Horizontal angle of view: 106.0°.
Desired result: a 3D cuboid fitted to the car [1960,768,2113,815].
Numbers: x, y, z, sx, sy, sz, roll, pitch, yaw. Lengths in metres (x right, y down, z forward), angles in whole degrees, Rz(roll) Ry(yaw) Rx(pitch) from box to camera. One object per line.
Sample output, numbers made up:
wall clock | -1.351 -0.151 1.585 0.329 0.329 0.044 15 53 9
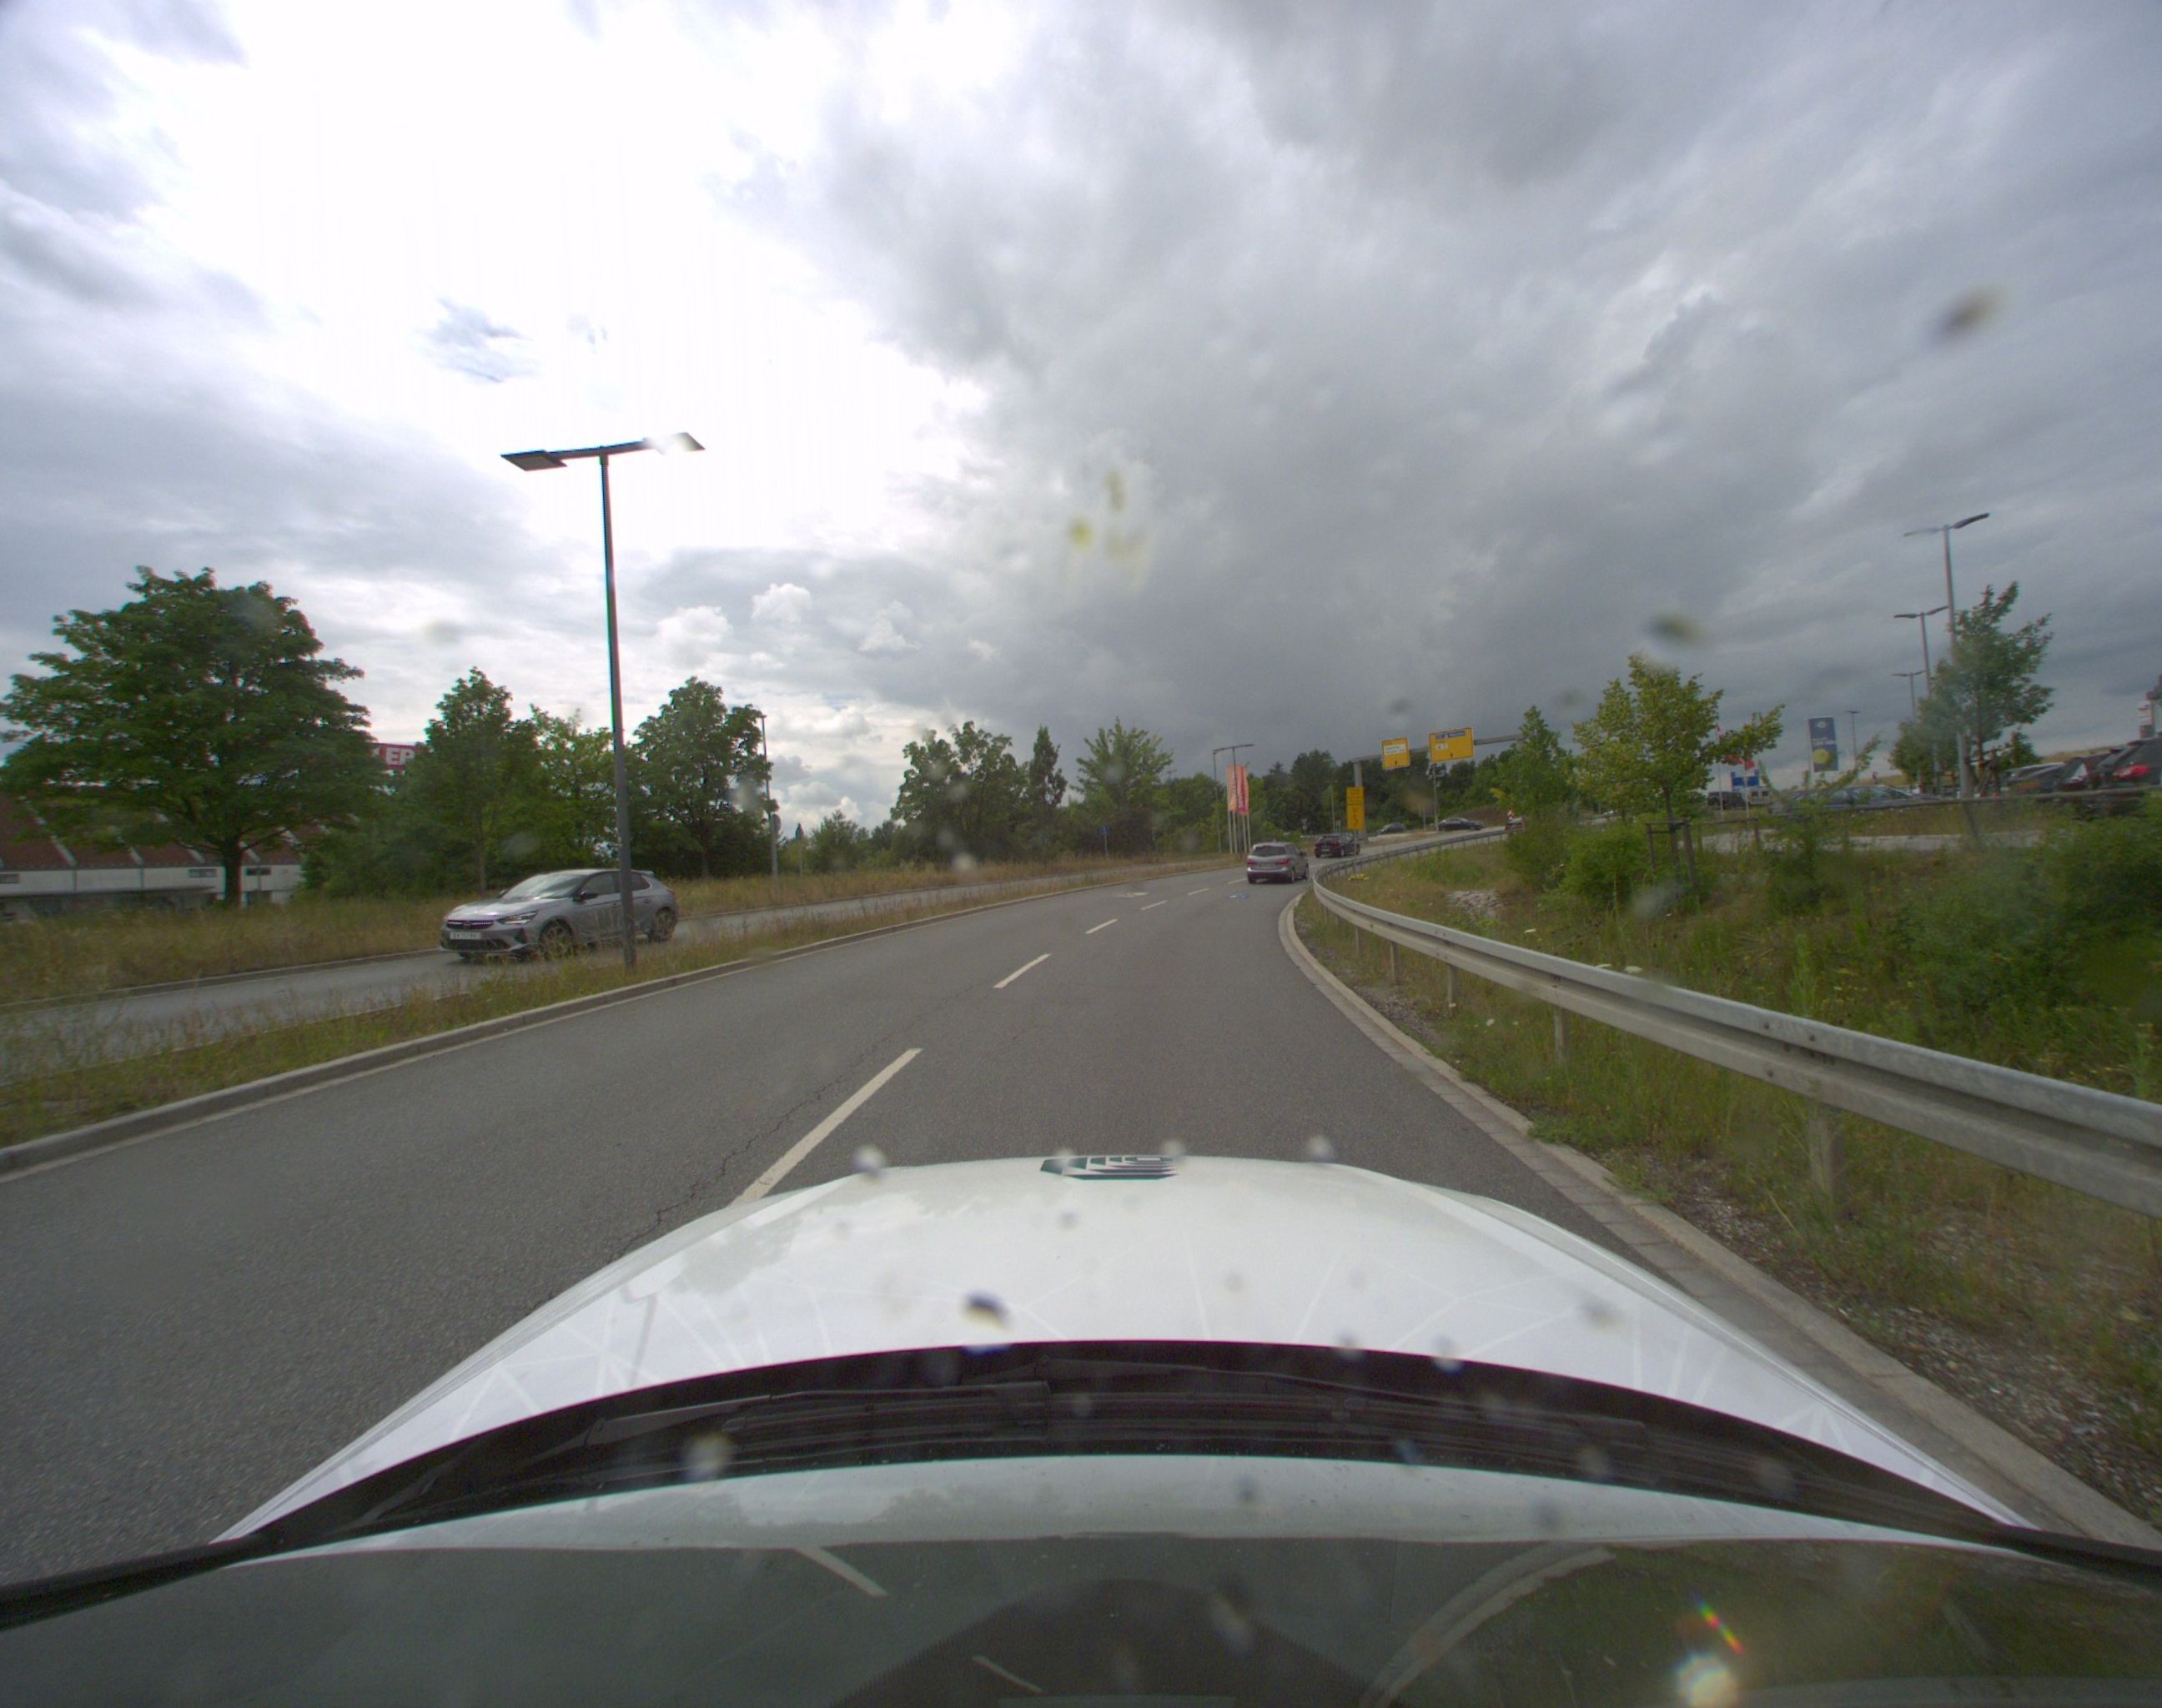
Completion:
car | 39.755 -2.560 34.039 1.605 1.389 3.917 -3 -2 -45

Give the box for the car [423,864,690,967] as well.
car | -8.930 0.966 14.336 1.449 1.486 4.108 -2 -1 11

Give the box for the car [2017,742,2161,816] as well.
car | 27.628 -2.008 21.295 3.846 1.629 1.731 -6 -3 43

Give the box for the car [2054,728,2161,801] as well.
car | 22.151 -1.868 16.212 1.653 1.334 3.403 -3 0 -44

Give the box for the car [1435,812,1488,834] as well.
car | 36.633 -2.955 78.526 1.910 1.783 4.112 -4 0 -34

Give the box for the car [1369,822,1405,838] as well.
car | 40.307 -3.137 107.169 4.169 1.665 1.845 -7 0 -24

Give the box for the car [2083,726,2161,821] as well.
car | 20.476 -1.532 14.310 1.742 1.635 3.403 -3 0 -44

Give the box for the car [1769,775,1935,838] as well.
car | 25.293 -1.500 26.906 1.659 1.638 3.760 -4 -2 -4

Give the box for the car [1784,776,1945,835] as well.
car | 27.595 -1.654 28.868 1.750 1.607 3.801 -5 -2 -5

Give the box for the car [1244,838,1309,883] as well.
car | 7.917 0.327 32.735 1.751 1.617 3.943 -2 -3 25

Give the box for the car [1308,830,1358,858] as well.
car | 15.836 -0.653 50.990 1.851 1.605 3.759 -3 -1 35

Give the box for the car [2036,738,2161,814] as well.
car | 24.306 -1.793 17.985 3.834 1.538 1.687 -4 0 38

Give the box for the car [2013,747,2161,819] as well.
car | 31.753 -2.184 25.025 3.811 1.819 1.731 -6 -3 43

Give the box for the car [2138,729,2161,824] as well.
car | 19.070 -1.407 12.249 1.654 1.538 3.582 -3 -2 -45
